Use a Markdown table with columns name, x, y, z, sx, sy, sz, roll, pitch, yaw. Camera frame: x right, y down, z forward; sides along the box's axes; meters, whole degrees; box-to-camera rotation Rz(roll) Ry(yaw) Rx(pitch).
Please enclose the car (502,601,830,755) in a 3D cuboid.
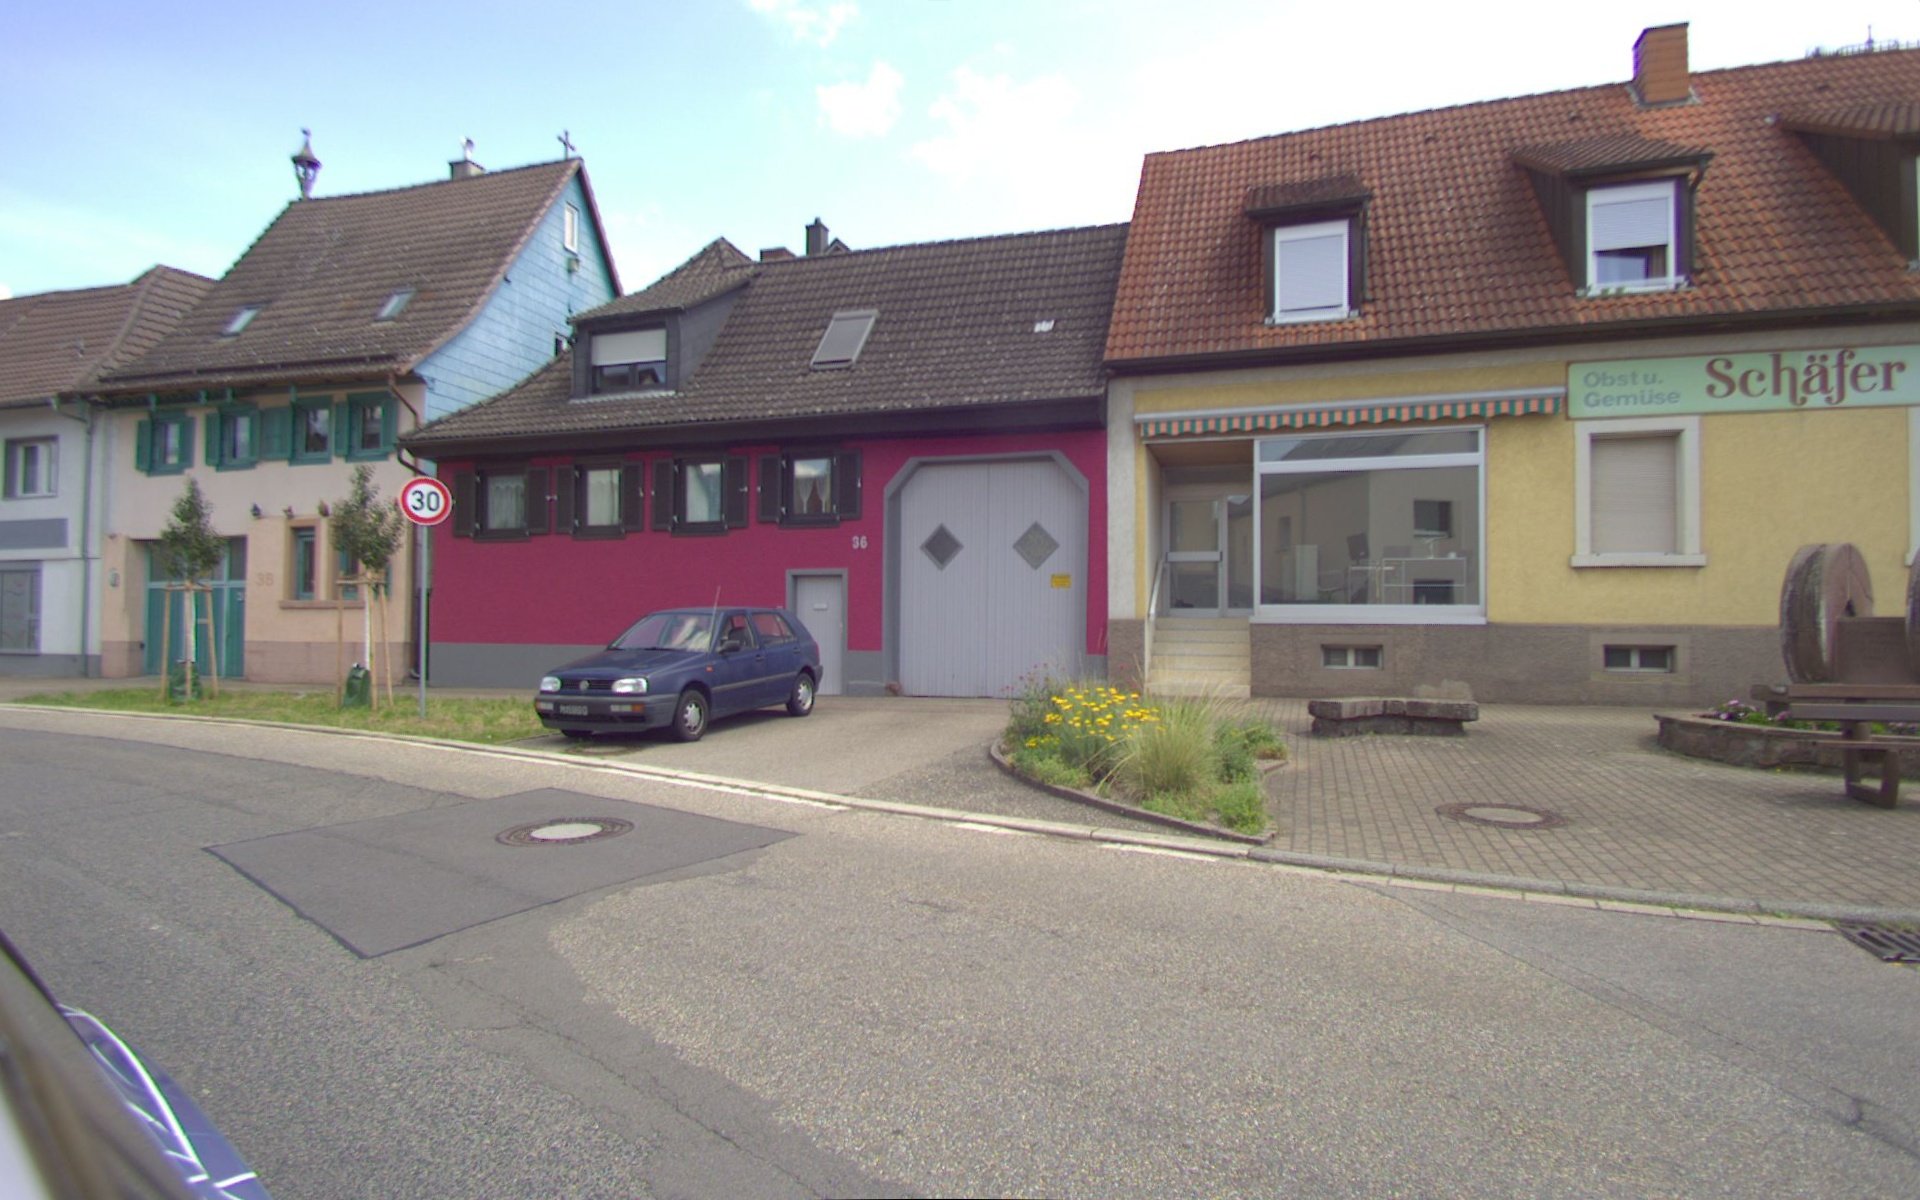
| name | x | y | z | sx | sy | sz | roll | pitch | yaw |
| --- | --- | --- | --- | --- | --- | --- | --- | --- | --- |
| car | -3.198 | 0.760 | 11.865 | 1.708 | 1.475 | 3.953 | 0 | 0 | 20 |
